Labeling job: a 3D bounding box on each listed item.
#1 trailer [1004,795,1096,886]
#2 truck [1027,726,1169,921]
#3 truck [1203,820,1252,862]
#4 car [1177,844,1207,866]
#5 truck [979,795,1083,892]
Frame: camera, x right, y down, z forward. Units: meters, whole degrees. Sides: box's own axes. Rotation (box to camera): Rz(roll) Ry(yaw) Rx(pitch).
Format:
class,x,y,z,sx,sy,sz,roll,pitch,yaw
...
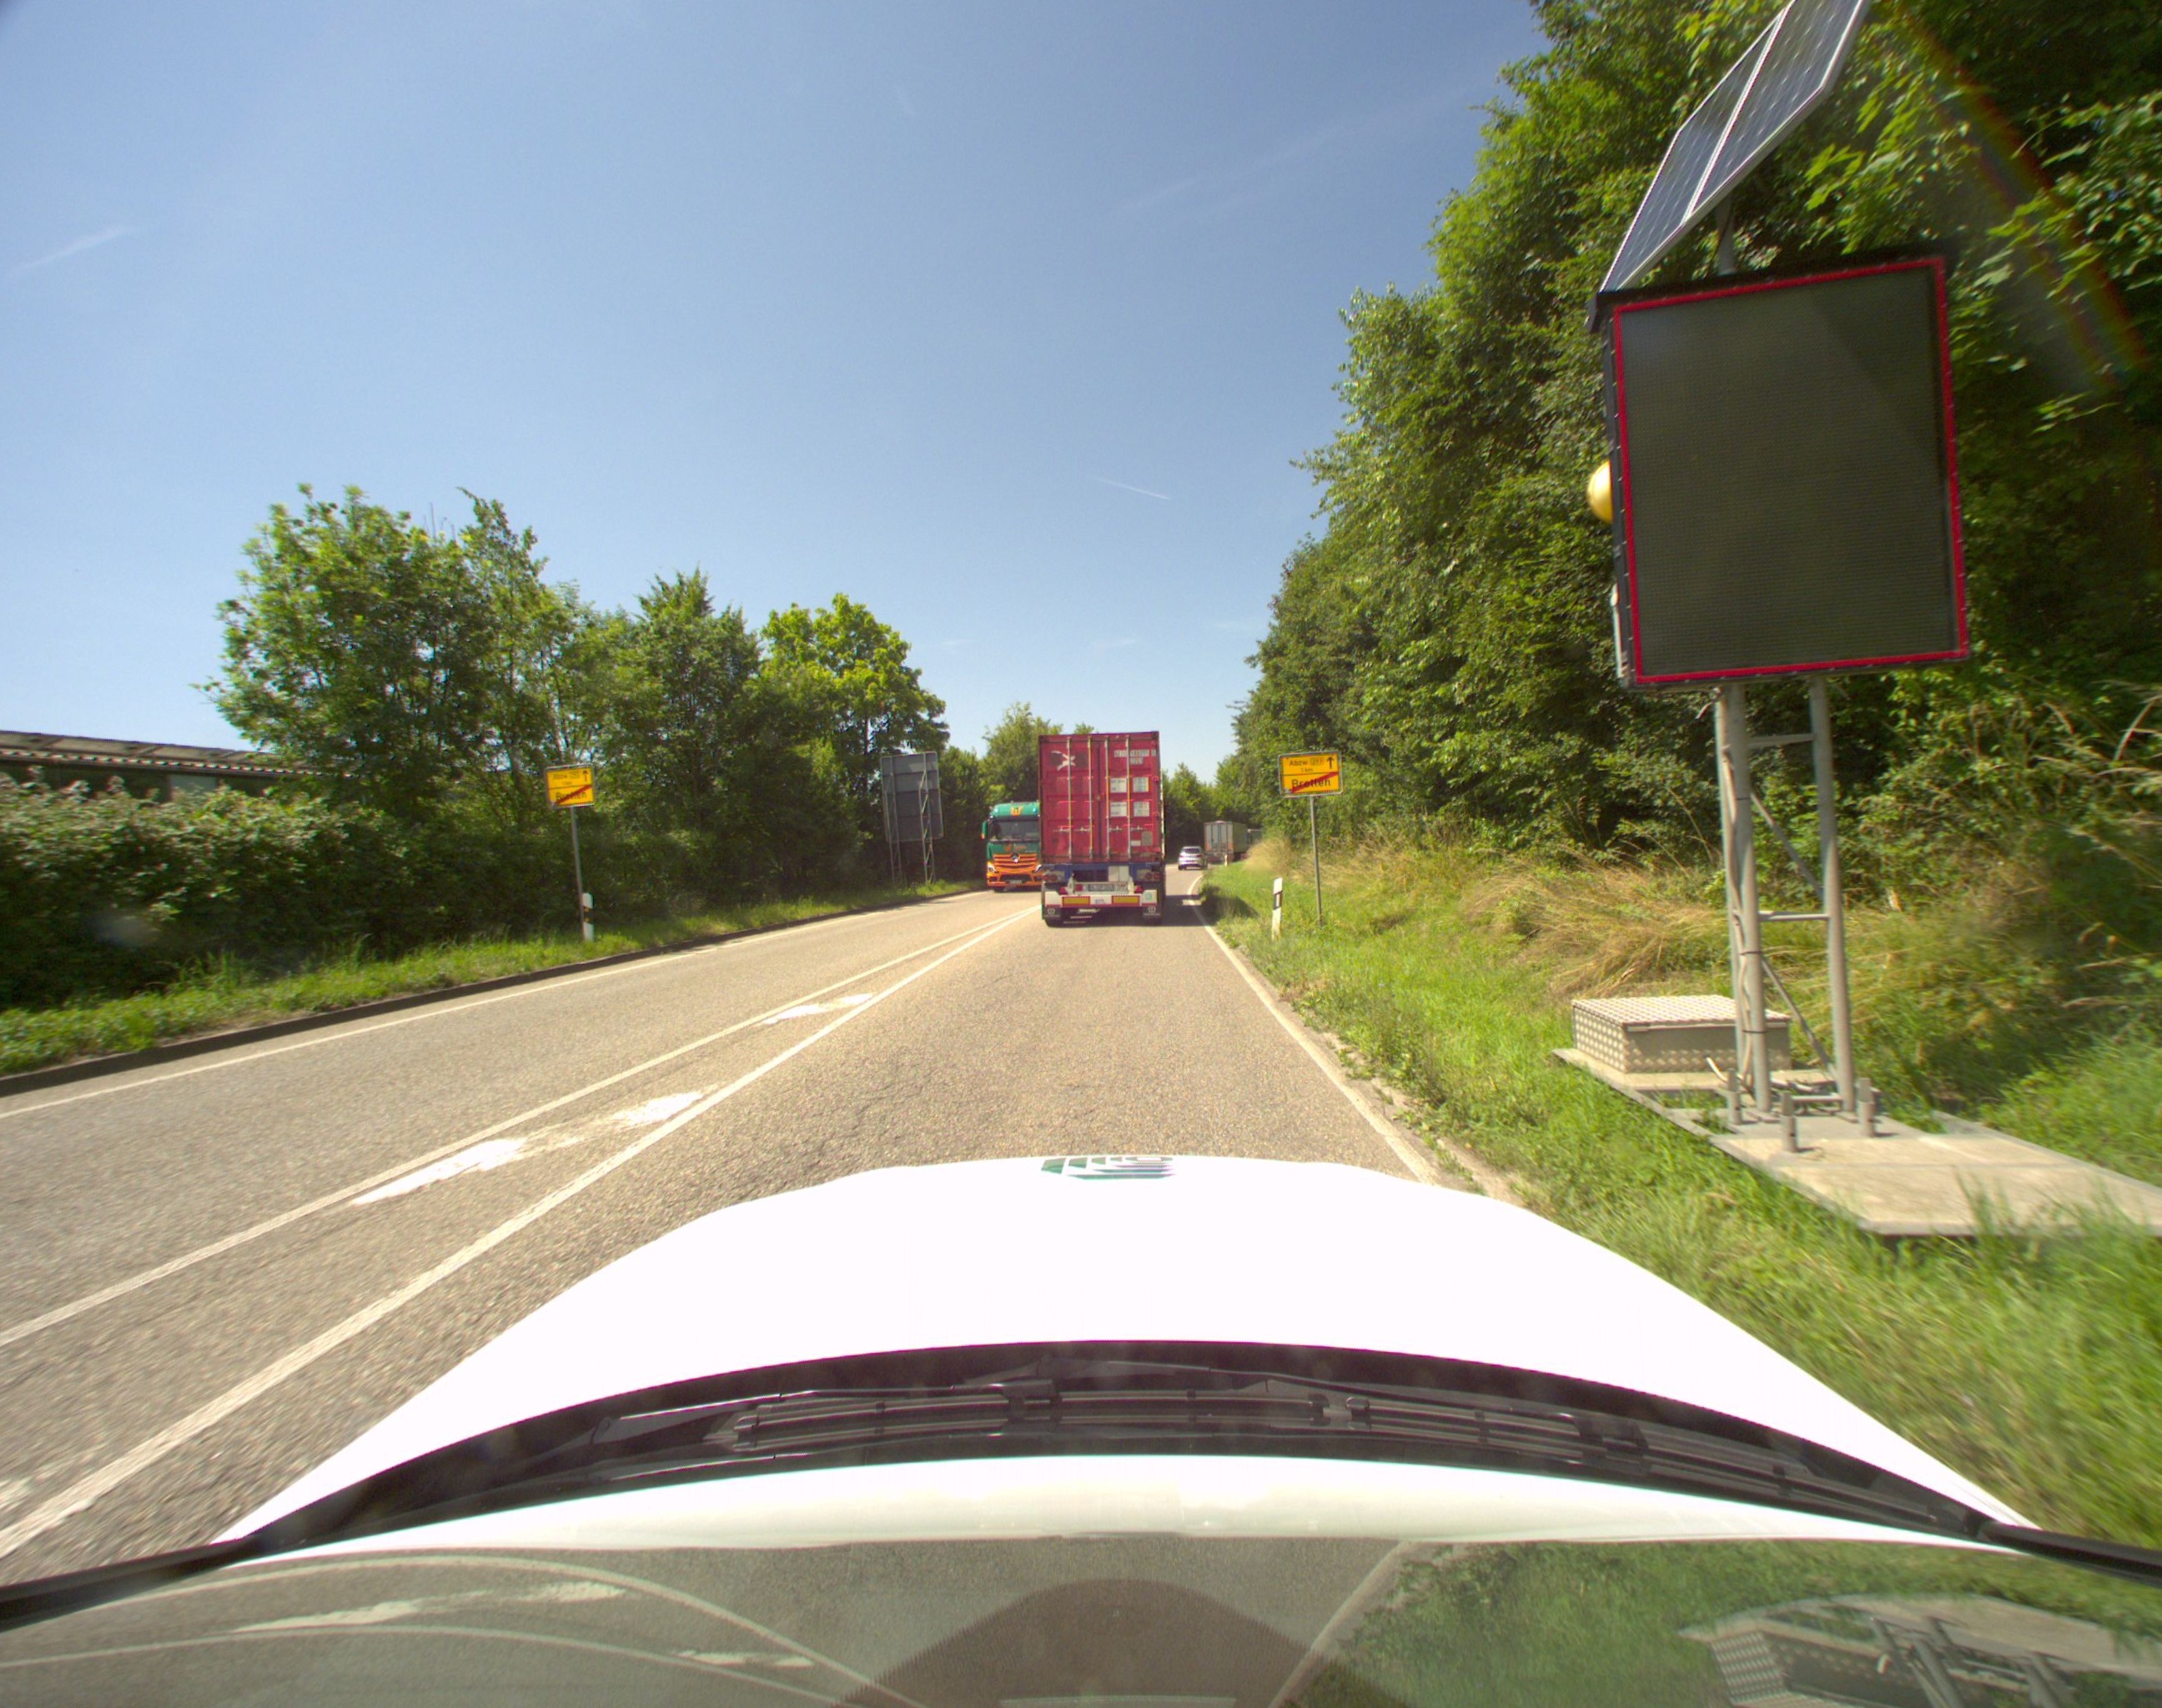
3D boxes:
class,x,y,z,sx,sy,sz,roll,pitch,yaw
trailer,-1.264,-0.599,39.391,2.562,3.819,8.939,-2,0,10
truck,1.045,-0.600,22.761,2.634,3.806,13.384,-1,0,7
truck,14.535,-1.236,79.935,2.898,3.716,13.422,0,0,18
car,8.023,0.039,58.676,1.820,1.433,4.013,-2,0,12
truck,-1.939,-0.432,35.611,2.562,3.679,7.899,-2,0,11
